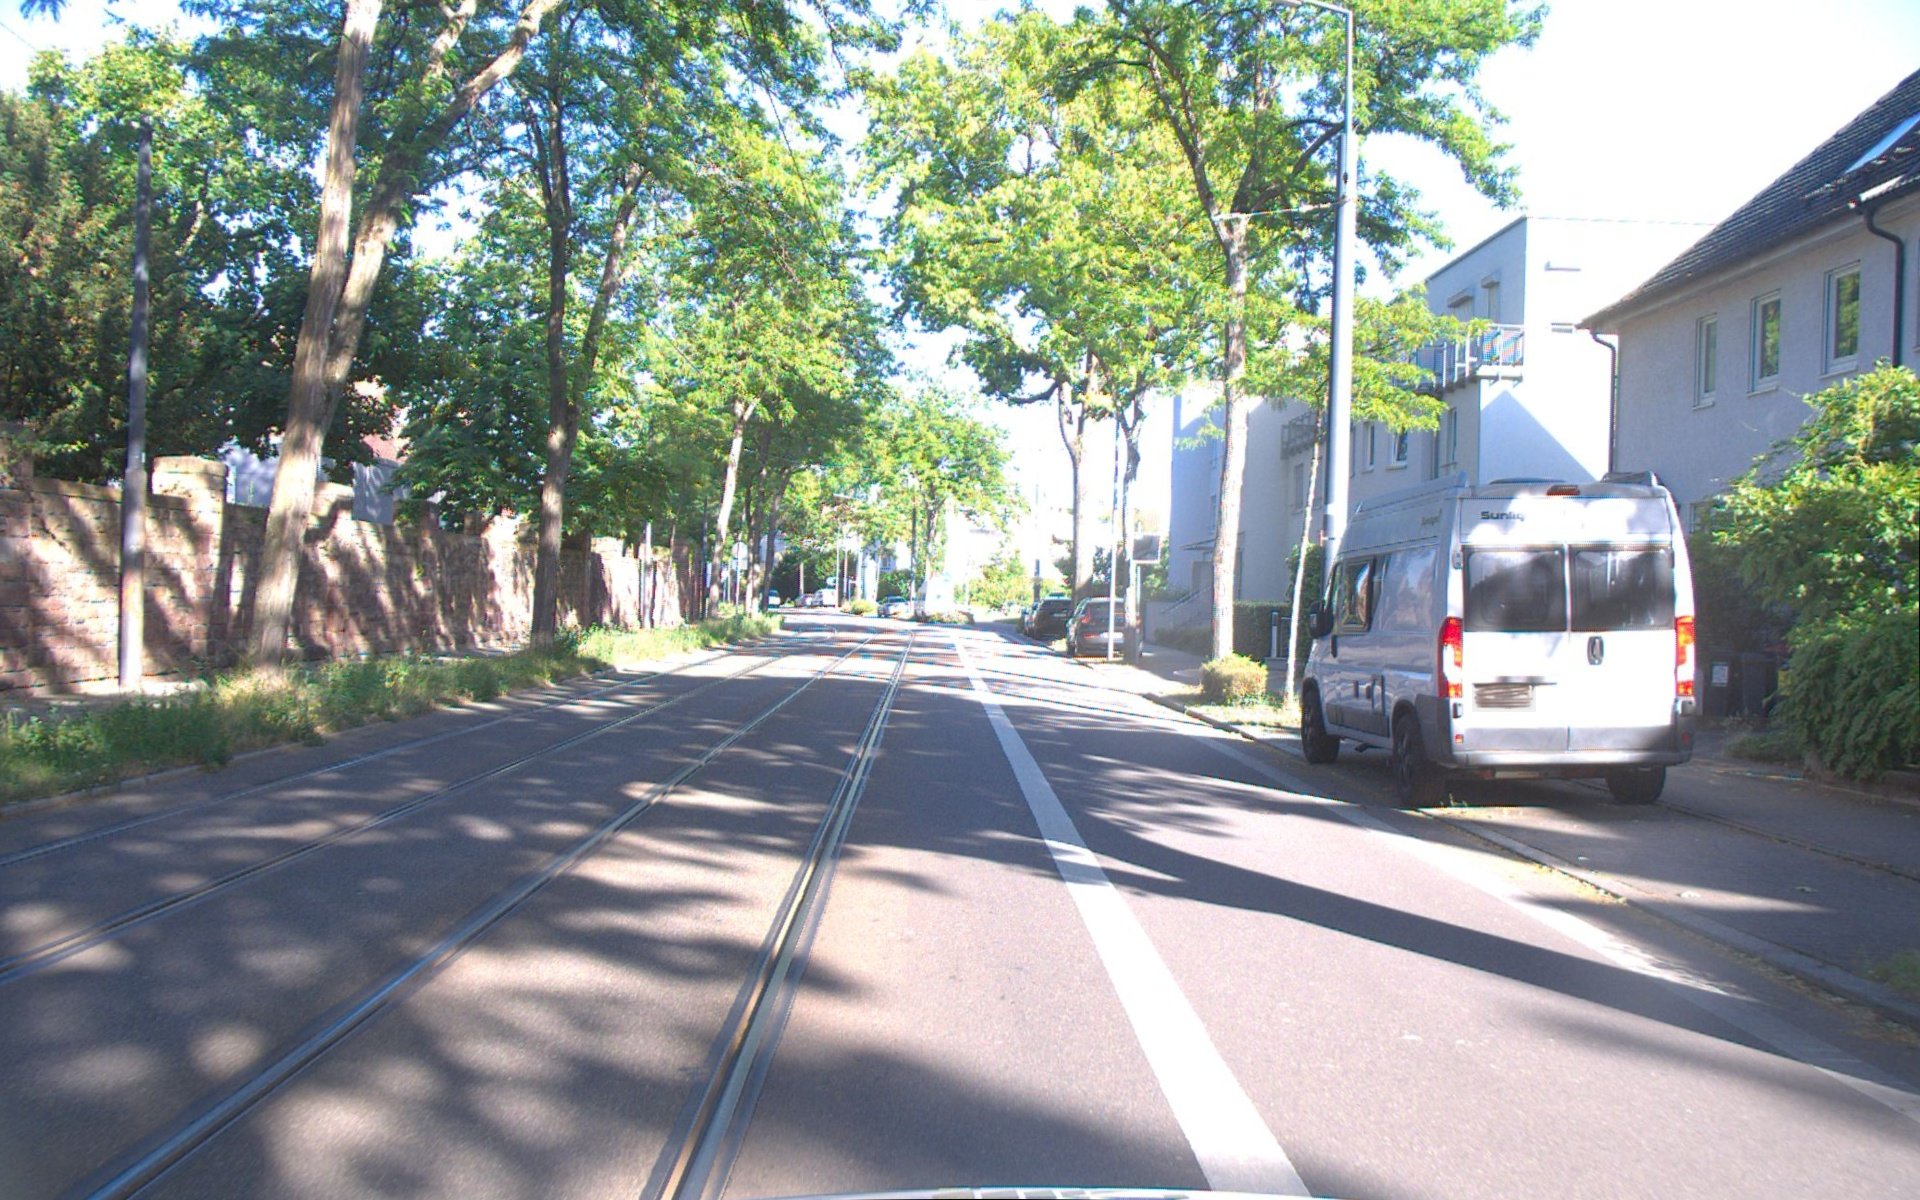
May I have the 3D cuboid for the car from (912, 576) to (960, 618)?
[{"bbox_3d":[-1.513,-0.194,100.636,1.960,2.501,4.493,1,0,-14],"label":"car"}]

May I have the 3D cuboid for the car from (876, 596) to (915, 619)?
[{"bbox_3d":[-4.634,0.510,118.356,1.968,1.588,4.377,1,0,-13],"label":"car"}]

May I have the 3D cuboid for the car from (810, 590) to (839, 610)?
[{"bbox_3d":[-13.805,0.012,168.046,1.972,1.943,4.369,0,0,-18],"label":"car"}]

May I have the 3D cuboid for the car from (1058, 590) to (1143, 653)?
[{"bbox_3d":[3.978,0.572,47.363,1.962,1.704,4.391,0,0,-1],"label":"car"}]

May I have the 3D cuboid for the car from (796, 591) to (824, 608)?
[{"bbox_3d":[-15.776,-0.077,173.807,1.972,1.704,4.151,0,0,-18],"label":"car"}]

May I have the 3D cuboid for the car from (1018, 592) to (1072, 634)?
[{"bbox_3d":[3.594,0.522,70.474,1.962,1.704,4.391,0,0,-2],"label":"car"}]

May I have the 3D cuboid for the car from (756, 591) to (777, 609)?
[{"bbox_3d":[-18.782,-0.011,160.061,1.831,1.704,4.164,1,0,-9],"label":"car"}]

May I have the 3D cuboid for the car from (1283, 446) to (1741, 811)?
[{"bbox_3d":[4.643,0.199,15.054,2.200,2.700,5.584,0,0,-1],"label":"car"}]

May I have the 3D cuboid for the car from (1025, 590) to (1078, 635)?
[{"bbox_3d":[3.563,0.469,64.652,1.961,1.704,4.394,0,0,3],"label":"car"}]
